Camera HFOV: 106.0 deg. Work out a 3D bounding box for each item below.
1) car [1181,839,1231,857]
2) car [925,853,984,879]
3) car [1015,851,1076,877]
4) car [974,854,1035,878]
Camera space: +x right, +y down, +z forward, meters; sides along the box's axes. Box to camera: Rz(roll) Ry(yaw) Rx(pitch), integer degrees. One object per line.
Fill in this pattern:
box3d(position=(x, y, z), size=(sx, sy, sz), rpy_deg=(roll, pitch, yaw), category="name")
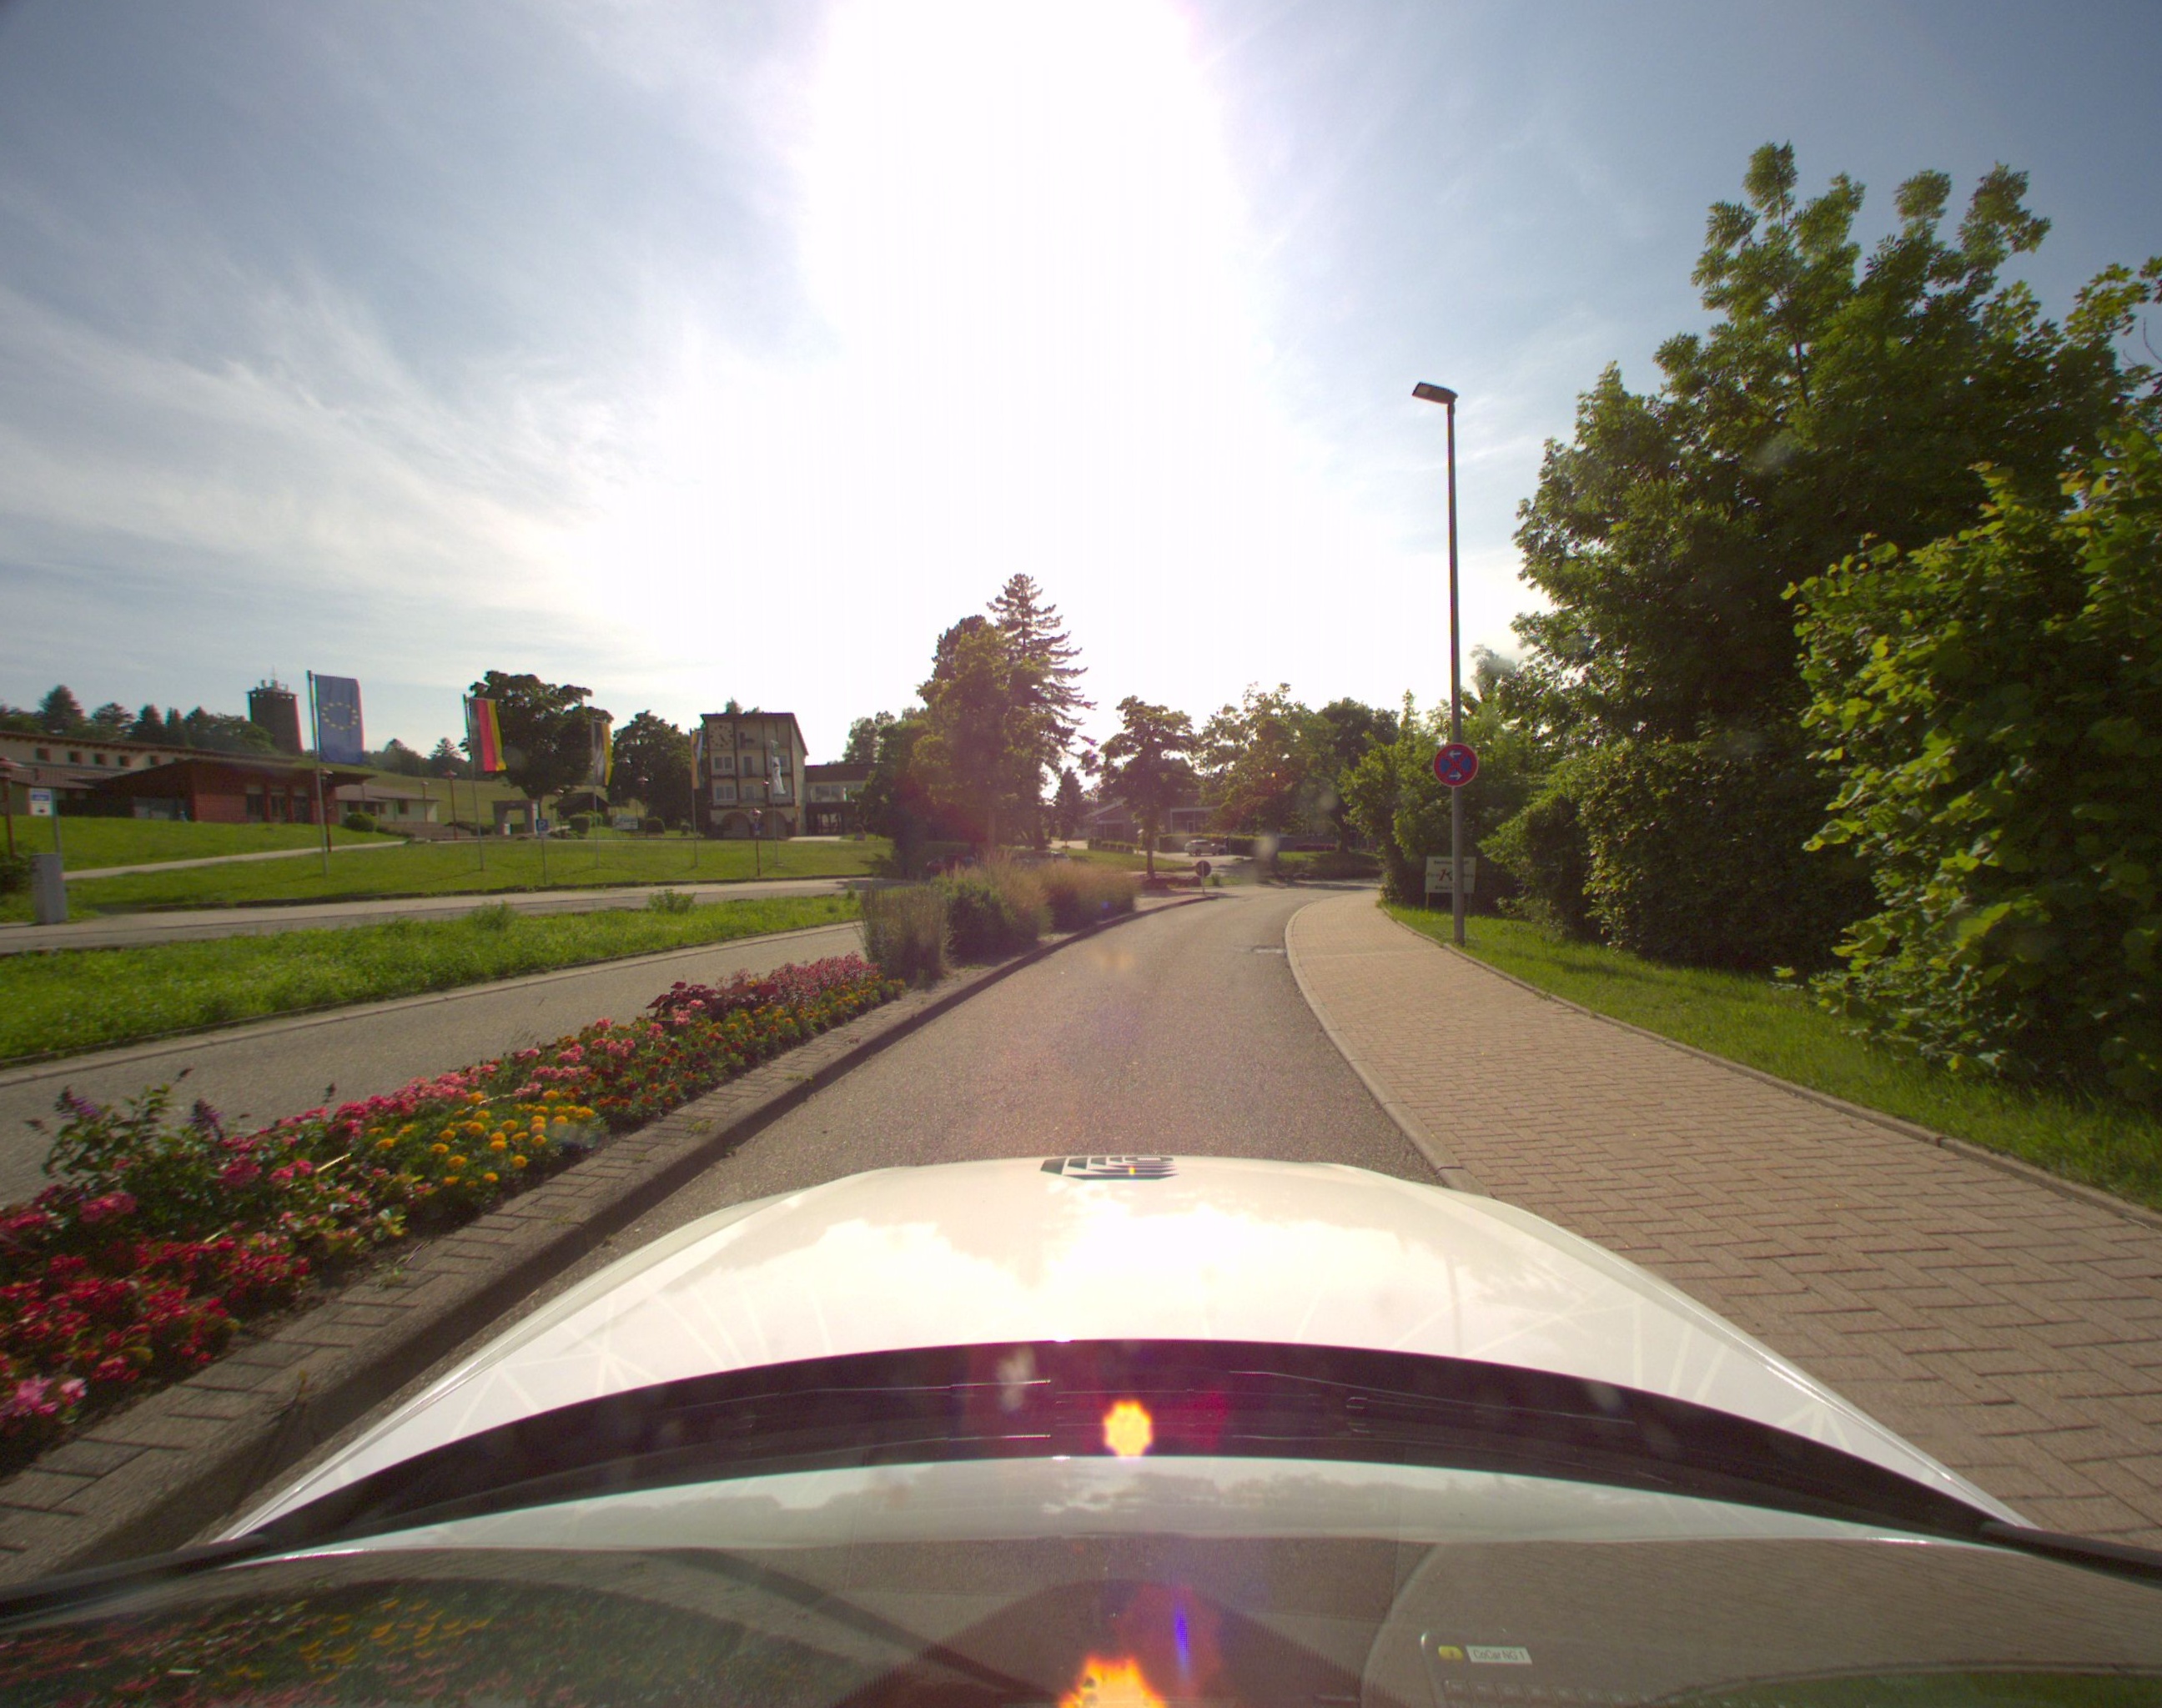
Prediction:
box3d(position=(12.959, -0.636, 84.222), size=(4.727, 1.533, 1.989), rpy_deg=(-2, 5, -18), category="car")
box3d(position=(-7.688, 0.689, 49.417), size=(3.167, 1.470, 1.787), rpy_deg=(1, 1, 38), category="car")
box3d(position=(-2.391, 0.649, 54.893), size=(3.891, 1.609, 1.787), rpy_deg=(2, 1, 39), category="car")
box3d(position=(-4.871, 0.746, 51.747), size=(3.666, 1.433, 1.787), rpy_deg=(2, 1, 40), category="car")
